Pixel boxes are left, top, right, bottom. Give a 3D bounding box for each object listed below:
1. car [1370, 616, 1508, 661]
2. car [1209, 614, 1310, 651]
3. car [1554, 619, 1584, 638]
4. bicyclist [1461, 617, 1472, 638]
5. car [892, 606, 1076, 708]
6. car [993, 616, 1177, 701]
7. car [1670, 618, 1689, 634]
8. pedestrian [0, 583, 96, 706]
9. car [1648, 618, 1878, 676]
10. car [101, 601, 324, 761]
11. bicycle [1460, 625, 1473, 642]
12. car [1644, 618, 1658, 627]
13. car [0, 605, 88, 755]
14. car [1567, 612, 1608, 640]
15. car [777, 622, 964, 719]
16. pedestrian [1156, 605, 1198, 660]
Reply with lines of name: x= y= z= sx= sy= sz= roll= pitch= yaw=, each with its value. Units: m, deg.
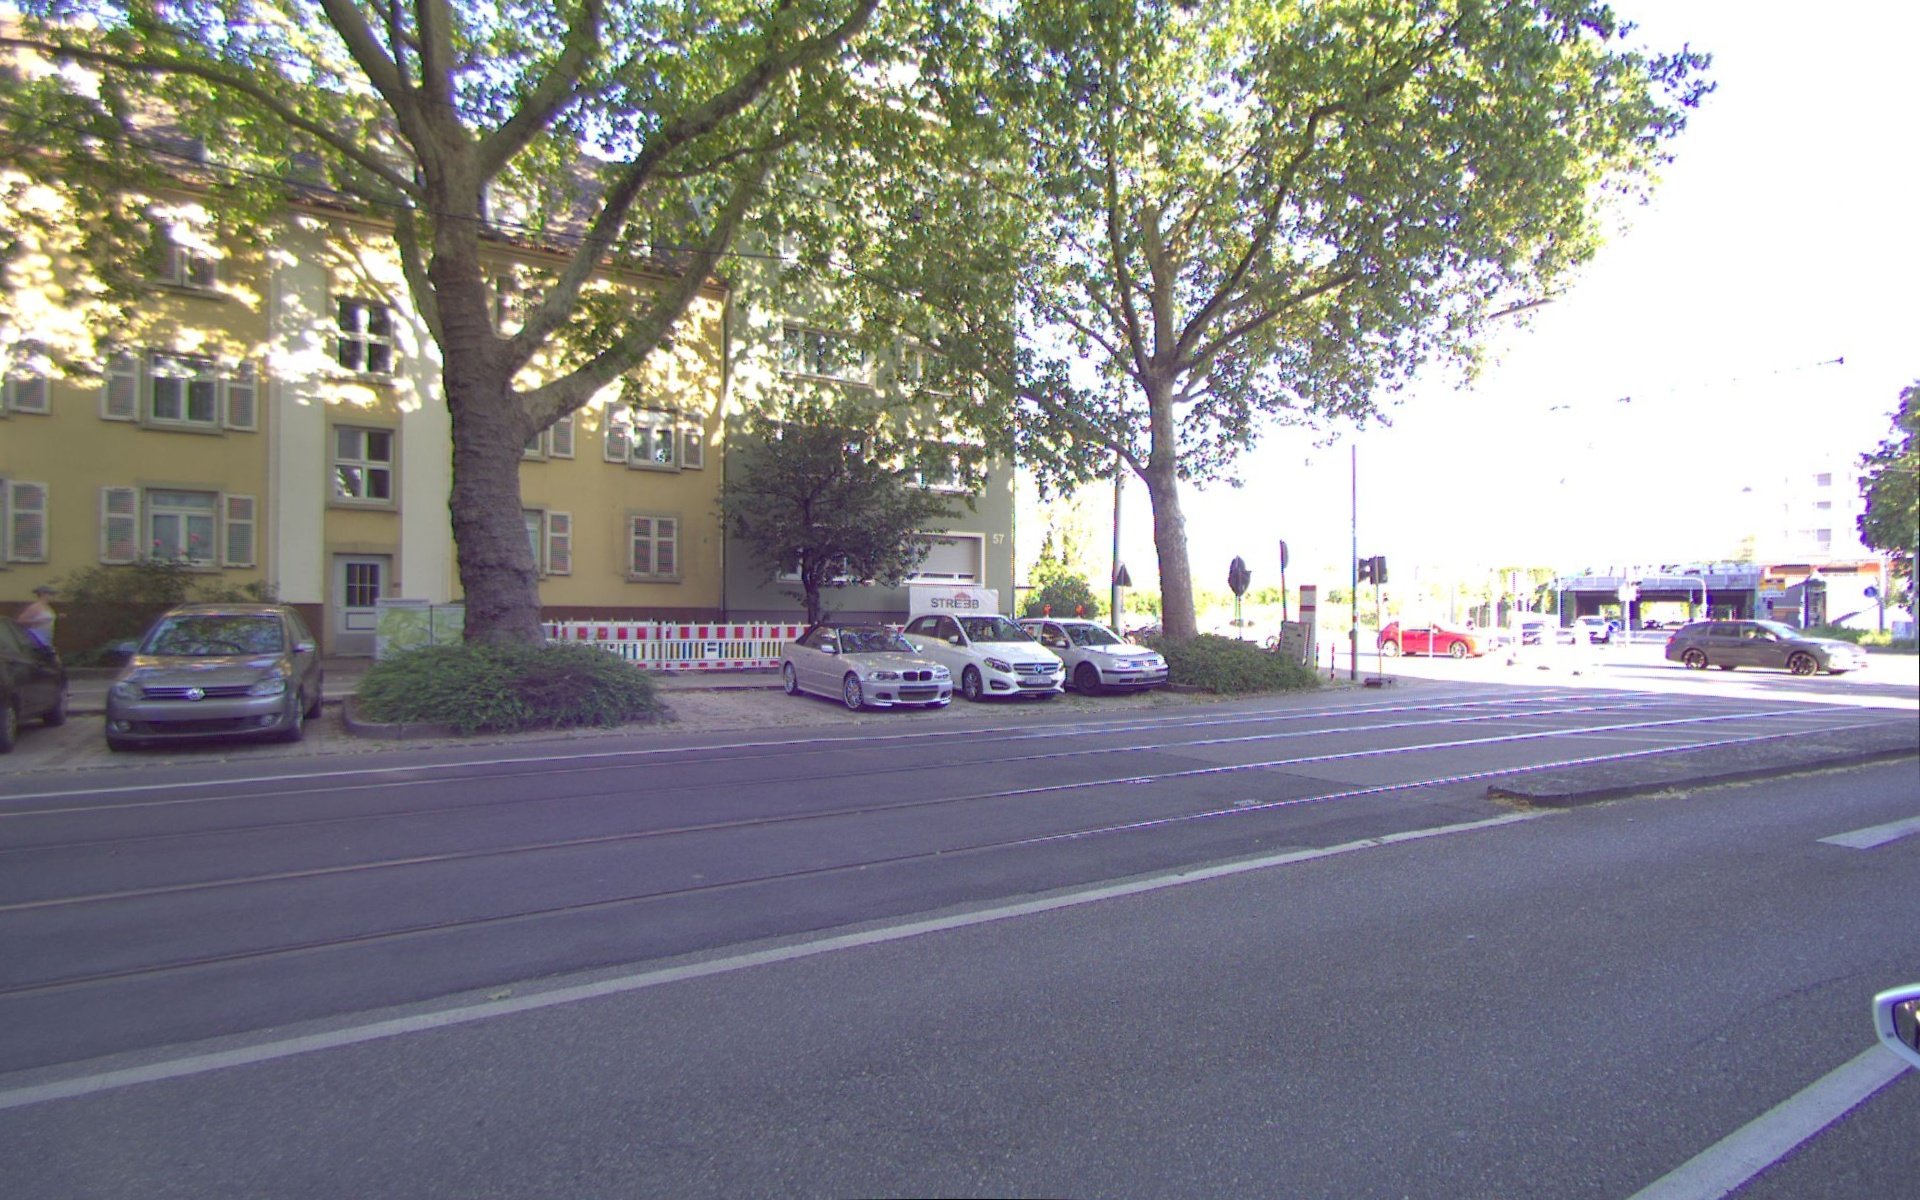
car: x=18.468 y=1.431 z=38.896 sx=2.006 sy=1.586 sz=4.439 roll=1 pitch=-1 yaw=-40
car: x=14.206 y=1.533 z=47.708 sx=4.128 sy=1.572 sz=1.990 roll=2 pitch=0 yaw=36
car: x=54.604 y=2.528 z=90.041 sx=1.860 sy=1.606 sz=3.823 roll=2 pitch=0 yaw=37
bicyclist: x=30.848 y=1.656 z=61.172 sx=0.519 sy=1.239 sz=0.528 roll=0 pitch=0 yaw=36
car: x=0.345 y=0.989 z=19.153 sx=1.651 sy=1.669 sz=3.949 roll=1 pitch=0 yaw=-31
car: x=2.436 y=1.116 z=20.528 sx=1.651 sy=1.473 sz=3.949 roll=1 pitch=0 yaw=-31
car: x=83.512 y=2.996 z=116.664 sx=1.731 sy=1.706 sz=3.729 roll=2 pitch=0 yaw=36
pedestrian: x=-13.104 y=0.622 z=14.405 sx=0.945 sy=1.683 sz=0.768 roll=2 pitch=0 yaw=-32
car: x=22.361 y=1.275 z=28.226 sx=1.912 sy=1.493 sz=4.714 roll=1 pitch=-2 yaw=-24
car: x=-9.005 y=0.838 z=12.416 sx=1.652 sy=1.602 sz=3.953 roll=1 pitch=0 yaw=-29
bicycle: x=30.856 y=2.020 z=61.188 sx=0.519 sy=0.995 sz=1.572 roll=0 pitch=-1 yaw=34
car: x=107.183 y=3.514 z=155.900 sx=1.555 sy=1.277 sz=3.421 roll=0 pitch=-1 yaw=30
car: x=-11.471 y=0.838 z=11.385 sx=1.652 sy=1.518 sz=3.778 roll=1 pitch=0 yaw=-29
car: x=39.436 y=1.631 z=63.135 sx=1.860 sy=1.606 sz=3.823 roll=2 pitch=0 yaw=37
car: x=-1.655 y=1.115 z=17.309 sx=1.651 sy=1.370 sz=3.949 roll=1 pitch=0 yaw=-31
pedestrian: x=6.750 y=0.996 z=31.198 sx=0.919 sy=1.669 sz=0.841 roll=2 pitch=0 yaw=-30
